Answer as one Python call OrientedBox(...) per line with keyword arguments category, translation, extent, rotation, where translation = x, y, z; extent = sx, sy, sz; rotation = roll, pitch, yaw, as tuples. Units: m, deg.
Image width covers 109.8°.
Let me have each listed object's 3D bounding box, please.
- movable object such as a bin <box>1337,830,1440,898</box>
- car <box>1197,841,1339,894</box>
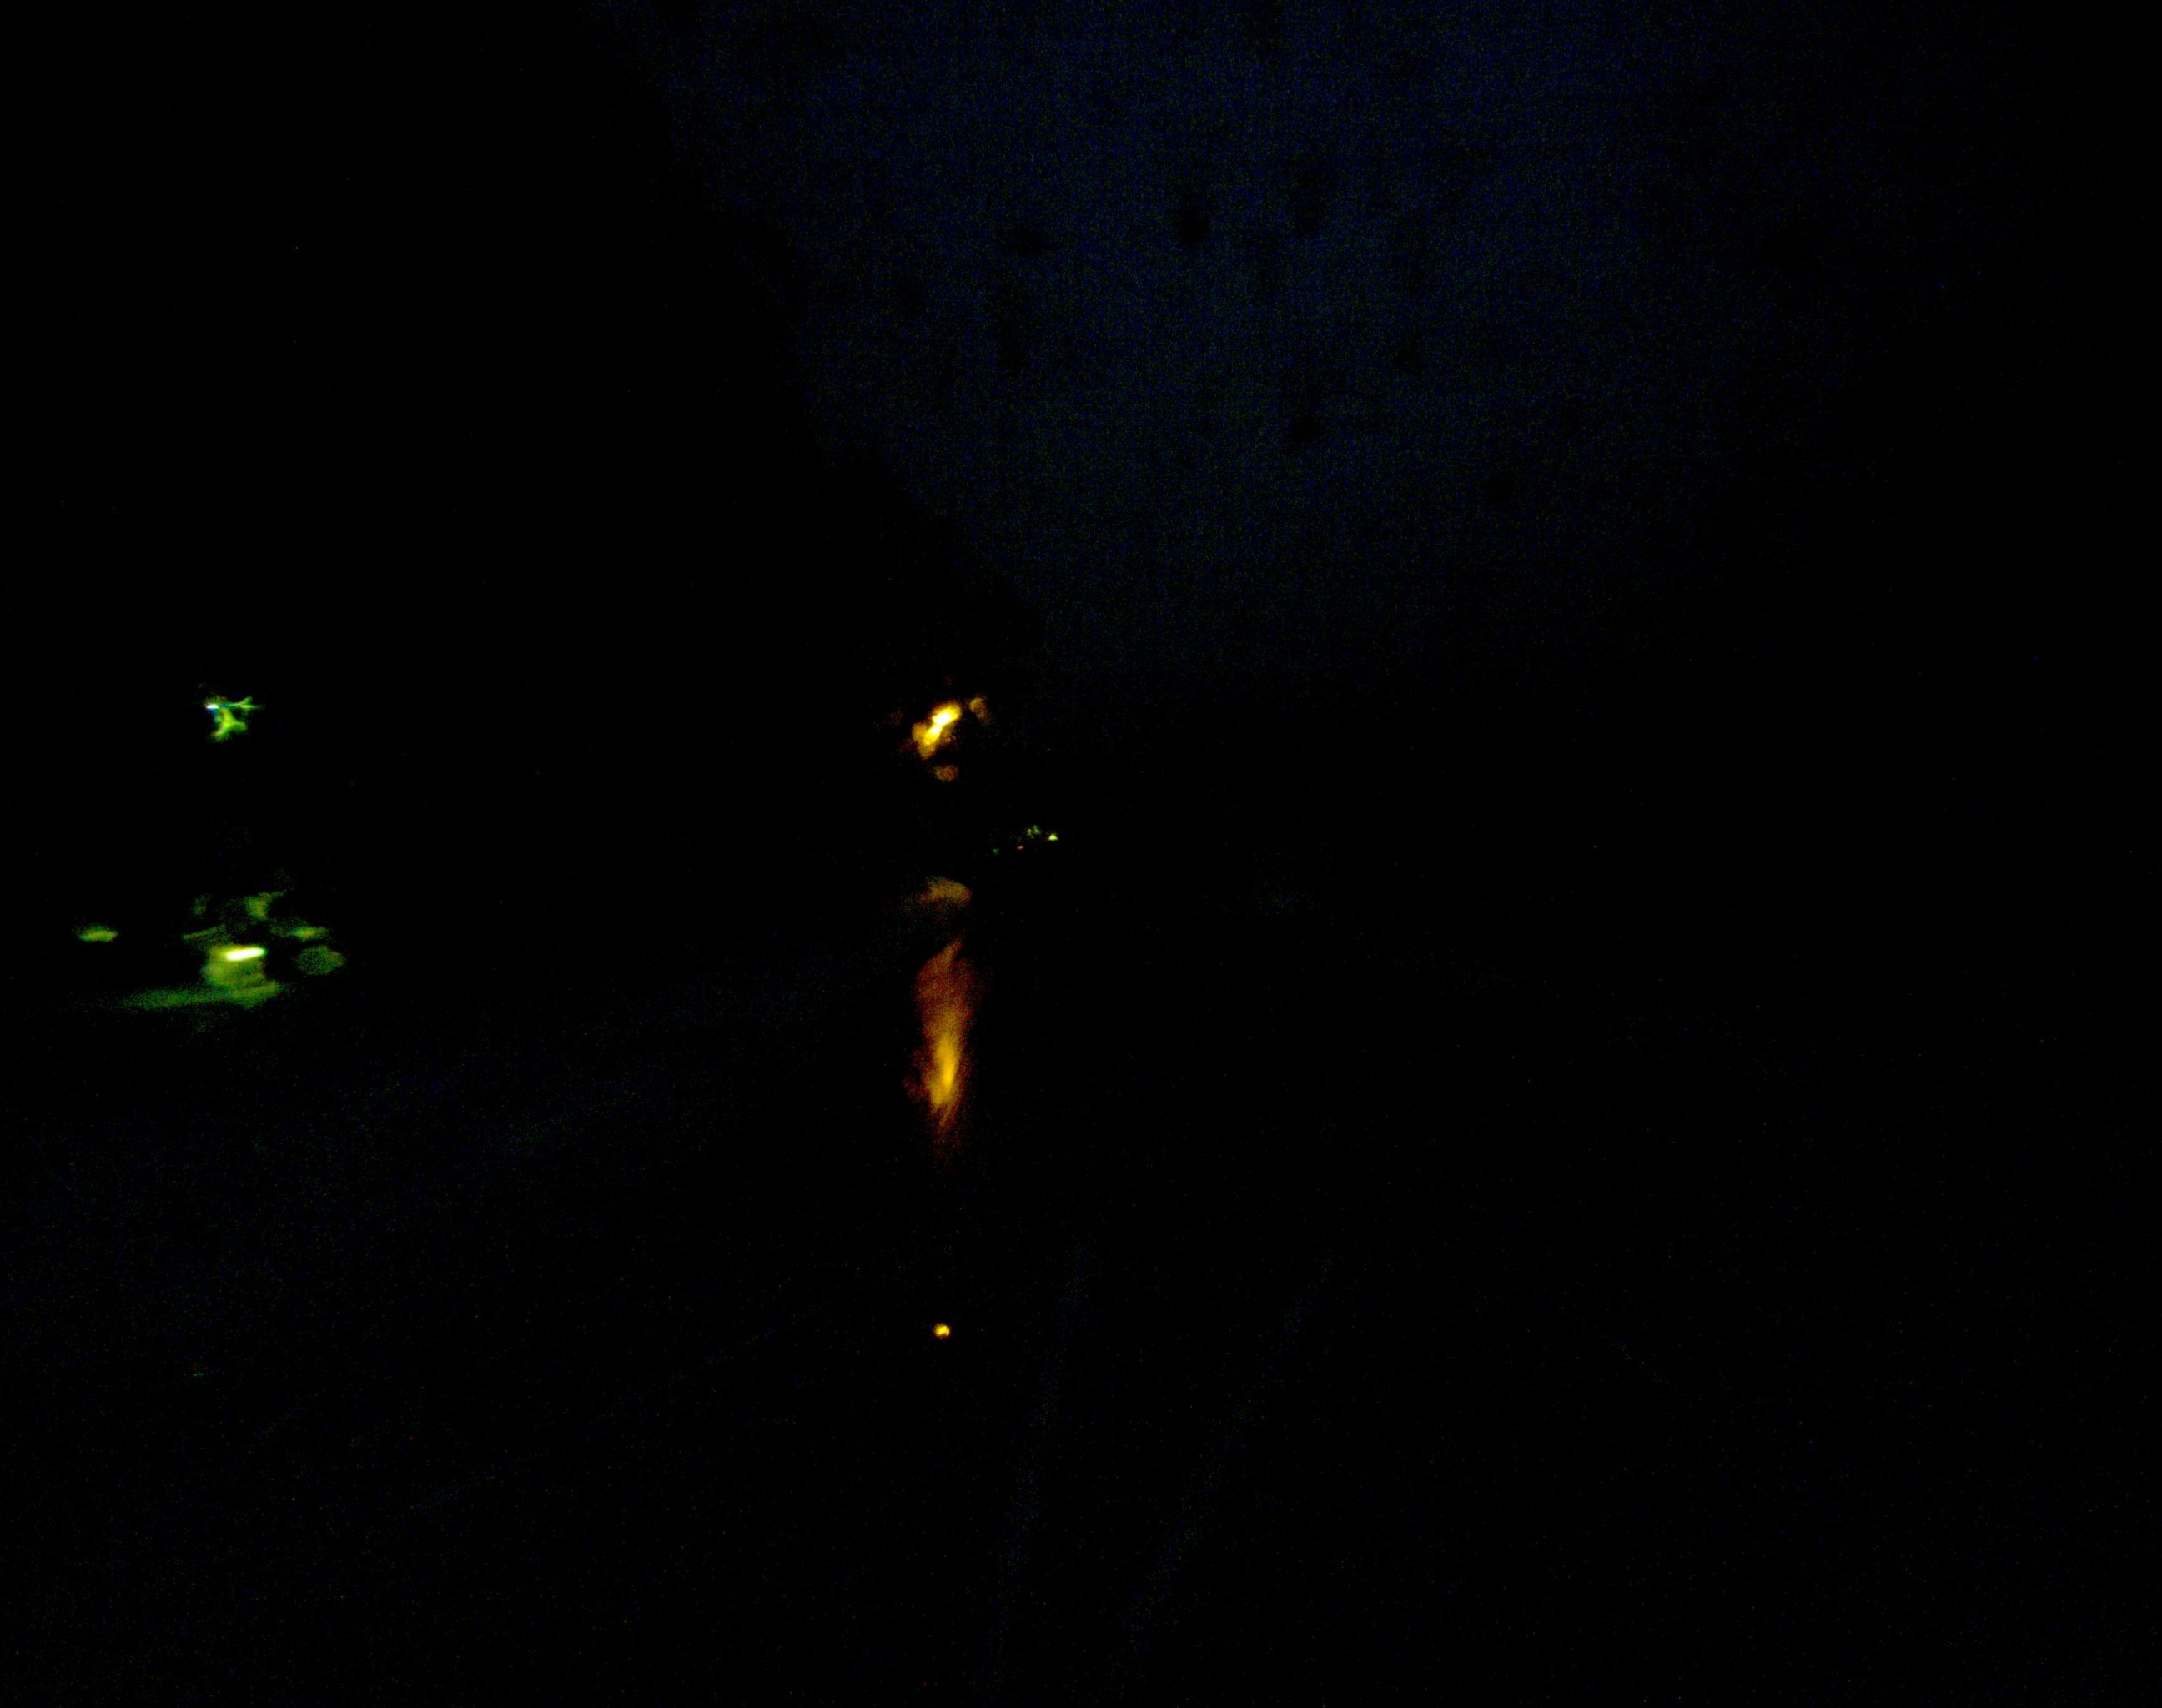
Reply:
OrientedBox(category="movable object such as a bin", translation=(8.278, 0.272, 20.621), extent=(2.367, 1.639, 1.443), rotation=(-4, 0, 16))
OrientedBox(category="car", translation=(7.708, 0.532, 31.615), extent=(5.278, 2.003, 2.212), rotation=(0, 3, -8))
